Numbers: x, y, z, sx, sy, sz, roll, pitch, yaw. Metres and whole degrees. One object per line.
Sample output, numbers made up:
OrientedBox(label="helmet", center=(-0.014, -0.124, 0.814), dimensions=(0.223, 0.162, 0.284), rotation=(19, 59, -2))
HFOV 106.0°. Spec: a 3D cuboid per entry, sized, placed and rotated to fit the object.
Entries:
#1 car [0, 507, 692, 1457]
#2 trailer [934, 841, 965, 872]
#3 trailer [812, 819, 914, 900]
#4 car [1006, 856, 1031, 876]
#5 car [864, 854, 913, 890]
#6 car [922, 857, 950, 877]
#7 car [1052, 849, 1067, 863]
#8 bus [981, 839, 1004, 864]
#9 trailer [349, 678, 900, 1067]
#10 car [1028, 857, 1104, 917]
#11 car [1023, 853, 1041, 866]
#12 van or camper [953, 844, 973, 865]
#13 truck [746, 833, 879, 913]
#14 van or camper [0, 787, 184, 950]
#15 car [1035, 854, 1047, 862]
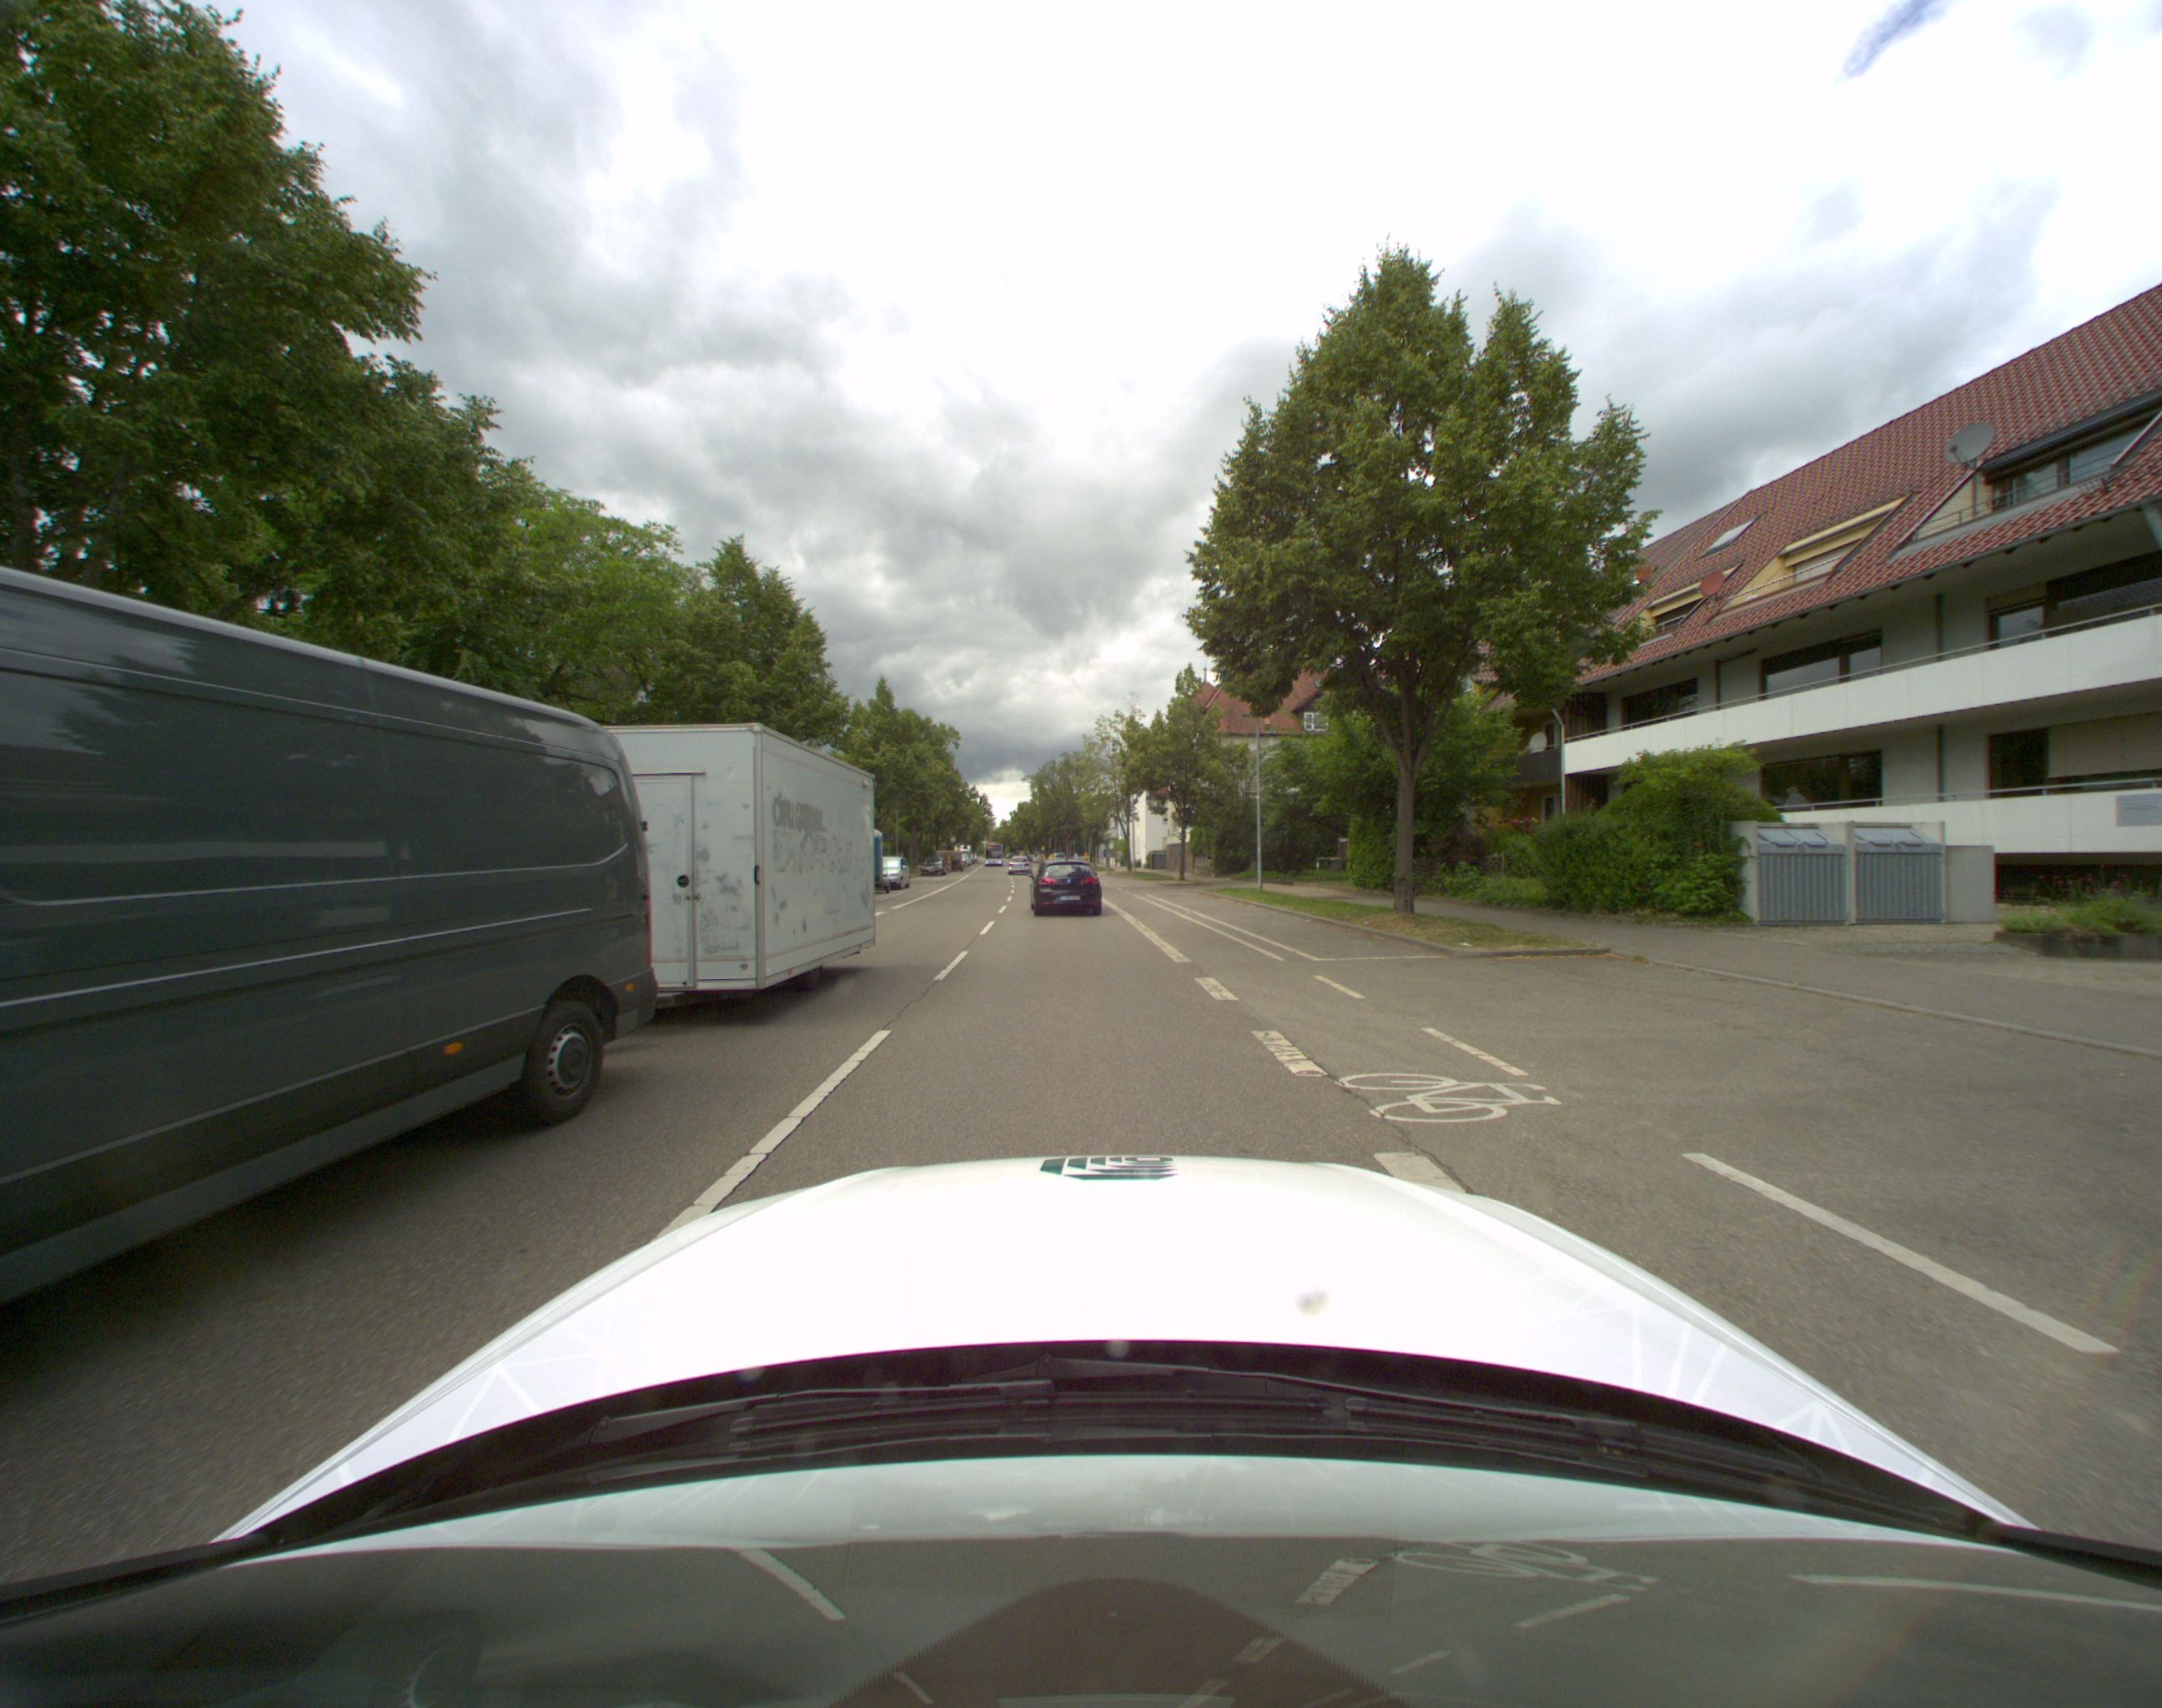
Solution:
OrientedBox(label="car", center=(-3.873, 0.344, 2.907), dimensions=(2.053, 2.480, 6.309), rotation=(-1, 0, -2))
OrientedBox(label="trailer", center=(-13.020, 0.297, 81.258), dimensions=(2.671, 2.941, 7.458), rotation=(0, -1, -7))
OrientedBox(label="trailer", center=(-8.805, 0.189, 33.752), dimensions=(2.365, 2.963, 7.008), rotation=(-1, 0, -1))
OrientedBox(label="car", center=(-5.079, 0.913, 66.437), dimensions=(1.990, 1.558, 3.994), rotation=(-1, 0, -4))
OrientedBox(label="car", center=(-9.399, 0.865, 40.041), dimensions=(1.686, 1.684, 4.218), rotation=(0, -1, -4))
OrientedBox(label="car", center=(-11.790, 1.059, 66.327), dimensions=(1.857, 1.553, 4.610), rotation=(0, -2, -6))
OrientedBox(label="car", center=(-2.644, 0.288, 100.241), dimensions=(1.630, 1.665, 3.640), rotation=(-1, 0, -6))
OrientedBox(label="bus", center=(-12.701, -0.213, 118.408), dimensions=(2.800, 3.288, 18.013), rotation=(0, -1, -5))
OrientedBox(label="trailer", center=(-4.167, 0.130, 9.527), dimensions=(2.627, 2.878, 6.868), rotation=(-1, 0, -1))
OrientedBox(label="car", center=(-0.488, 0.826, 21.897), dimensions=(1.781, 1.449, 3.551), rotation=(-1, 0, -6))
OrientedBox(label="car", center=(-6.025, 0.644, 99.853), dimensions=(1.992, 1.530, 3.989), rotation=(-1, 0, -8))
OrientedBox(label="van or camper", center=(-17.080, 0.081, 118.521), dimensions=(2.432, 3.009, 7.677), rotation=(-1, 0, -6))
OrientedBox(label="truck", center=(-8.639, 0.548, 27.029), dimensions=(2.288, 2.287, 6.461), rotation=(-1, 0, -1))
OrientedBox(label="van or camper", center=(-20.478, 0.267, 14.281), dimensions=(2.582, 2.883, 5.948), rotation=(-1, 0, 7))
OrientedBox(label="car", center=(-7.102, 0.691, 143.646), dimensions=(2.018, 1.443, 5.015), rotation=(0, 0, -5))
